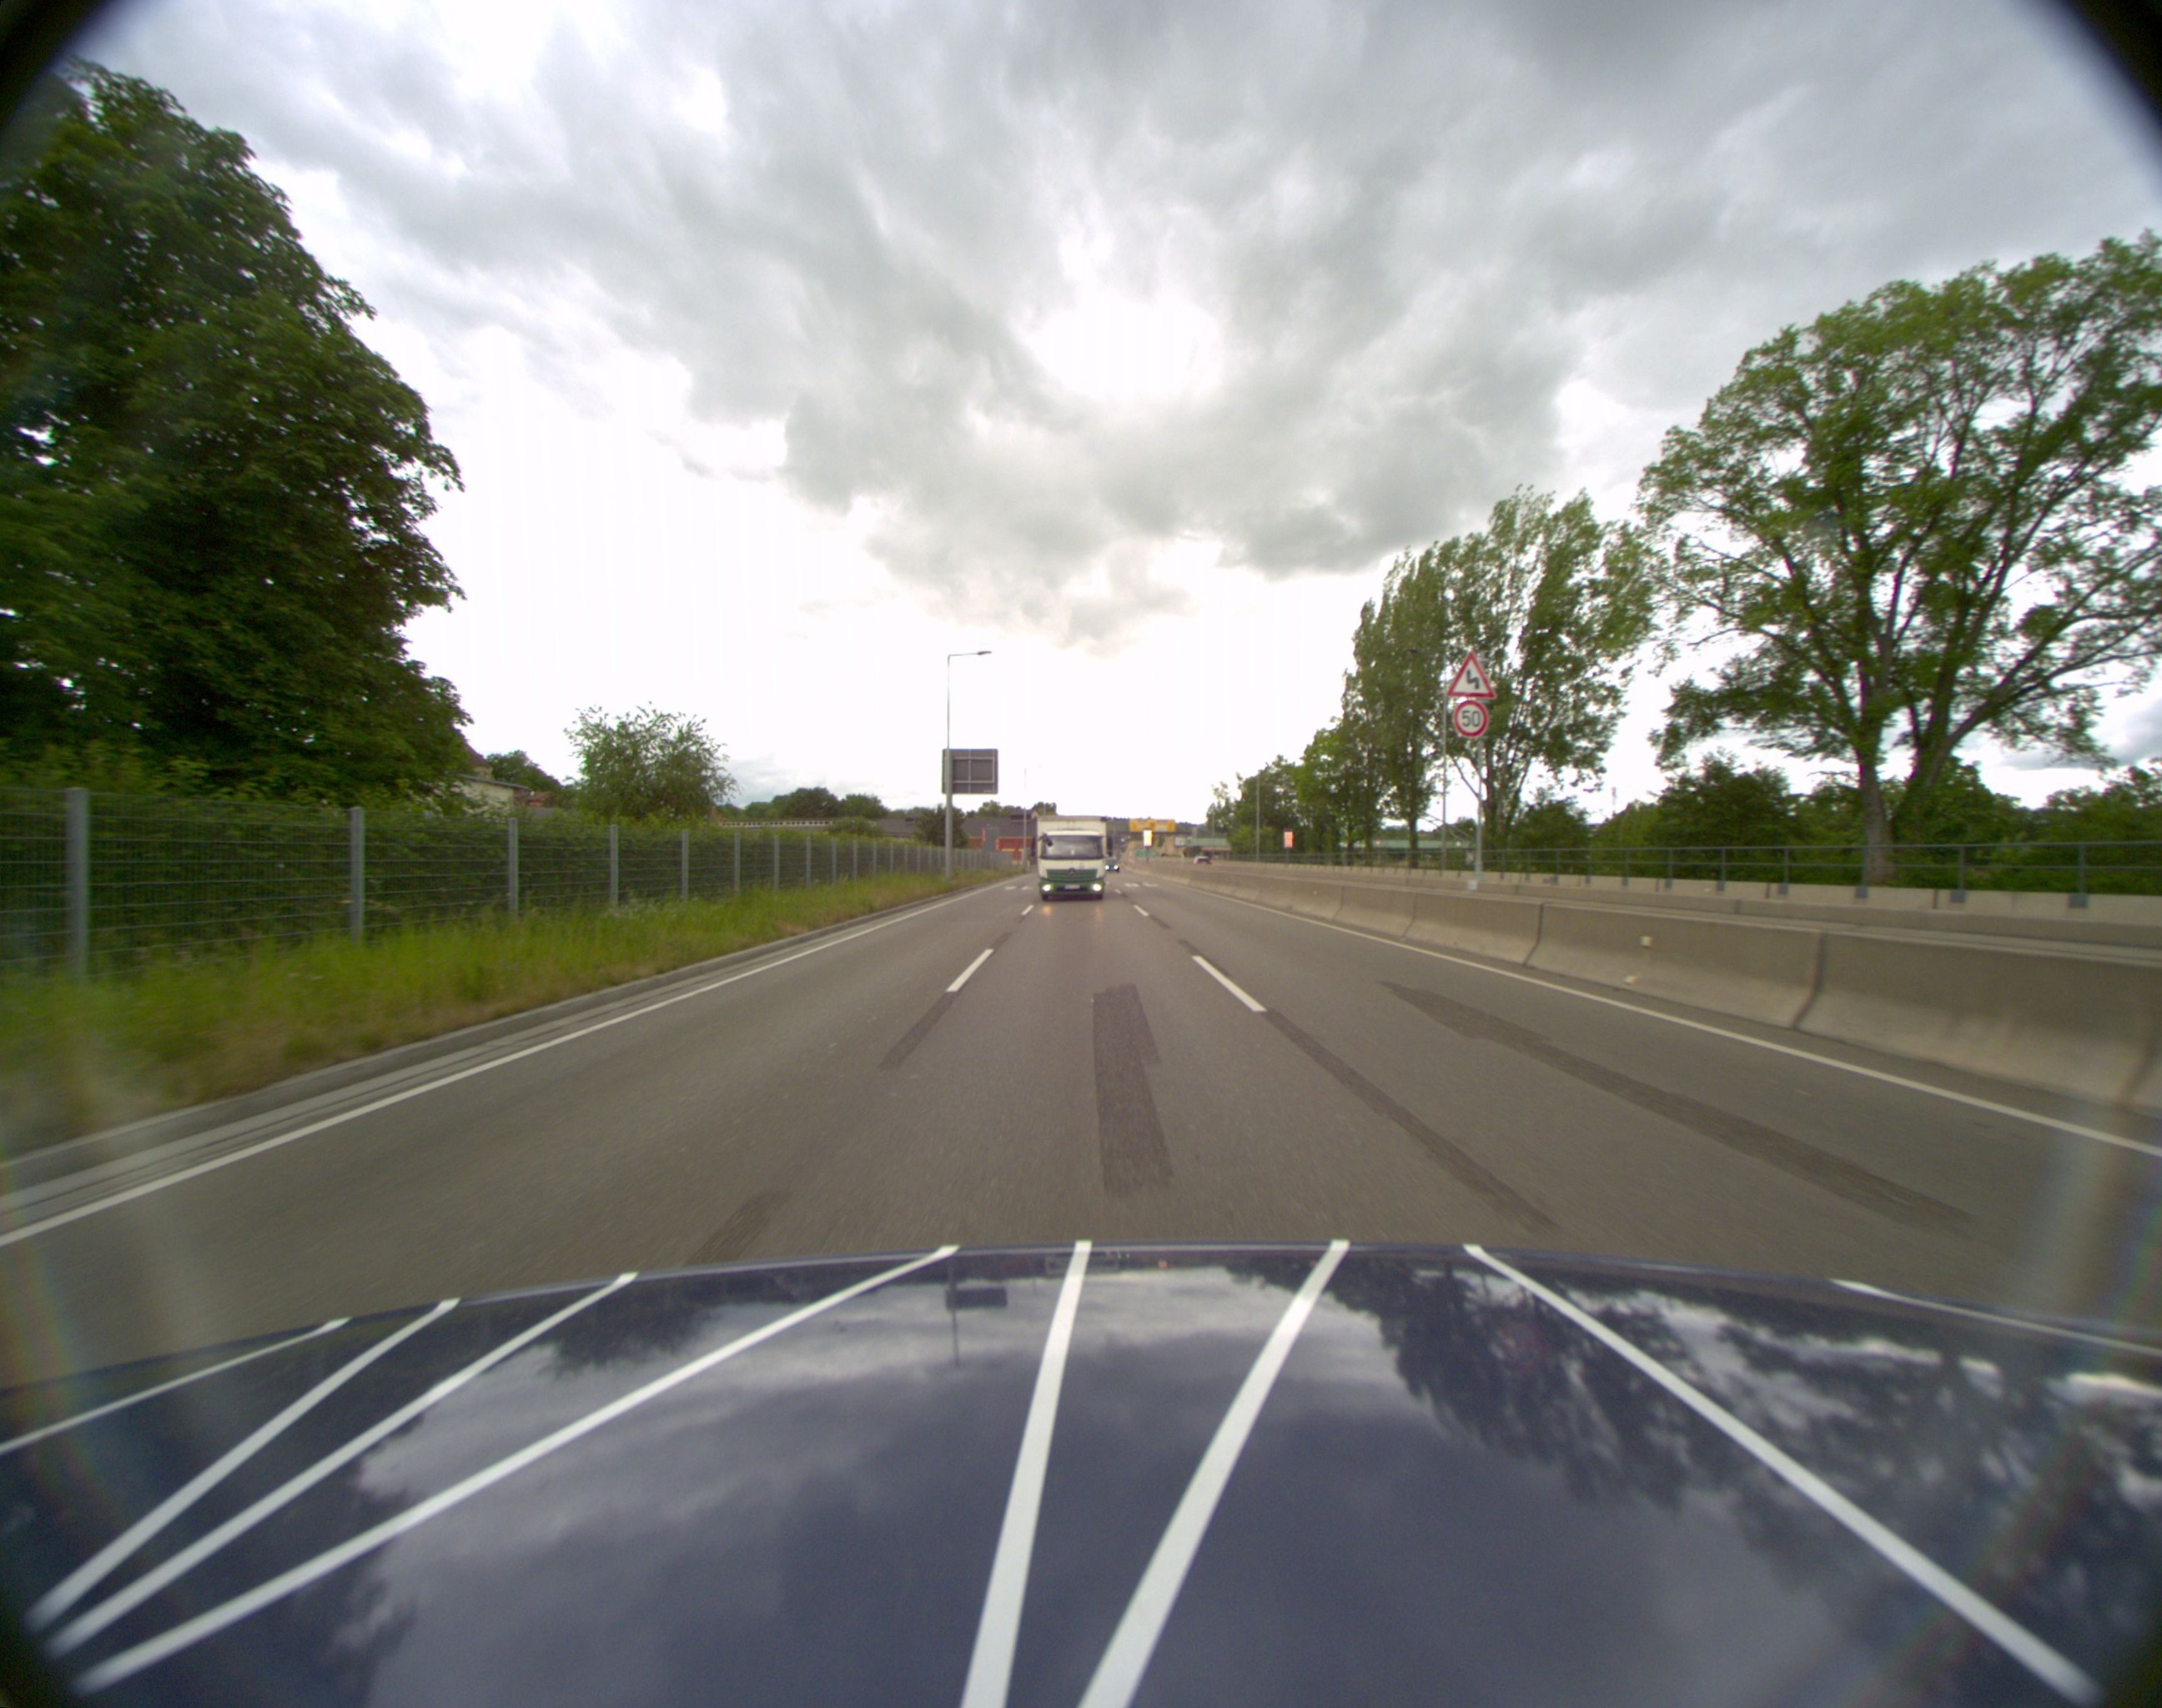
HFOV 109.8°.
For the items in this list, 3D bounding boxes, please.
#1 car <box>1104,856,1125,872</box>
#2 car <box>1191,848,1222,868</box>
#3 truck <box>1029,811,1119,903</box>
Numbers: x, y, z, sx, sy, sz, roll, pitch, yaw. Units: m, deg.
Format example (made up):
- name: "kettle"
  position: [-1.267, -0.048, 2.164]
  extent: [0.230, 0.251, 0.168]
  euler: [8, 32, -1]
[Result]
- name: "car"
  position: [3.363, 0.964, 76.932]
  extent: [1.998, 1.444, 4.000]
  euler: [-2, 0, 0]
- name: "car"
  position: [12.787, 0.418, 77.773]
  extent: [2.335, 1.914, 5.002]
  euler: [-2, 0, 1]
- name: "truck"
  position: [-0.308, 0.084, 30.113]
  extent: [2.943, 3.065, 8.385]
  euler: [-2, 0, -1]
